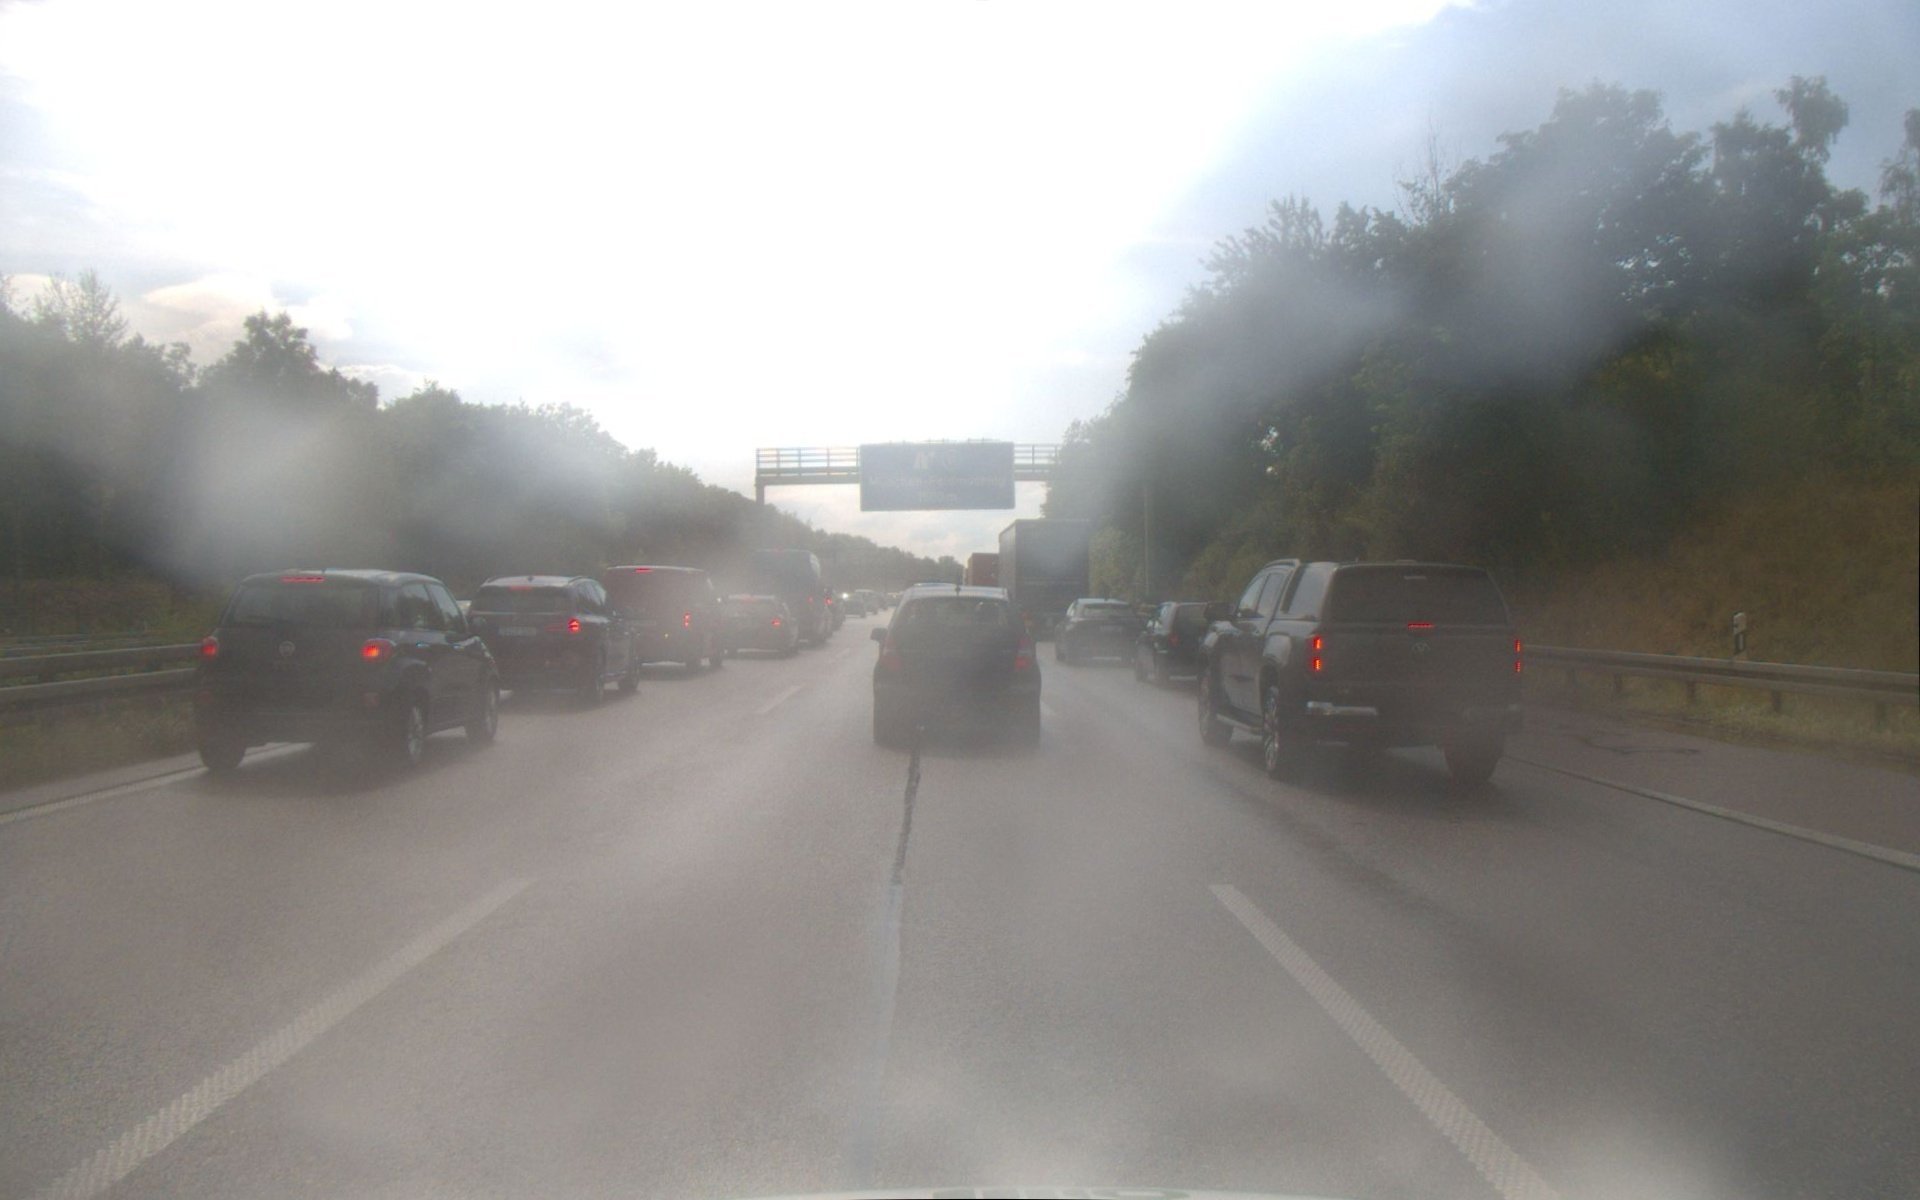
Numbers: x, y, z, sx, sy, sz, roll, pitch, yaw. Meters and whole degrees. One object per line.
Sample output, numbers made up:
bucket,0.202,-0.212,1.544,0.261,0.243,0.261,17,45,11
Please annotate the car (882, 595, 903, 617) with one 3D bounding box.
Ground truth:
car,-6.829,0.585,166.768,1.953,2.152,4.888,1,0,-1

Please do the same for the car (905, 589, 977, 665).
car,-0.526,0.675,42.444,1.659,1.836,3.973,1,0,-3

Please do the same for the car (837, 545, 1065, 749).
car,-0.192,0.475,18.711,2.229,1.989,4.818,1,0,-3

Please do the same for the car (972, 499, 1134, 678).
car,3.181,-0.345,63.807,4.316,5.932,16.806,1,0,-3

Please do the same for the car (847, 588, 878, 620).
car,-6.832,0.267,116.223,1.953,2.152,4.888,1,0,-1

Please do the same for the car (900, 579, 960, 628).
car,-1.021,0.134,55.007,1.828,1.542,3.973,1,0,-3

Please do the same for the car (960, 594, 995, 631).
car,1.040,0.757,99.589,1.953,2.152,4.888,1,0,-1

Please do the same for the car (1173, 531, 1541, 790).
car,3.401,0.478,15.451,1.902,1.952,5.650,1,0,-2

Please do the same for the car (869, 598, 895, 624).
car,-6.627,0.934,141.099,1.953,2.152,4.888,1,0,-1

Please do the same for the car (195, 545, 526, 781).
car,-5.238,0.506,15.004,1.658,1.836,3.974,1,0,-2

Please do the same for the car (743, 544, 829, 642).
car,-4.978,-0.173,48.017,1.953,2.661,5.258,1,0,-1

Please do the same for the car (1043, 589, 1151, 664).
car,2.973,0.559,36.545,1.828,1.542,3.973,1,0,-3

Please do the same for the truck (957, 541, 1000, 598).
truck,1.236,-2.010,112.741,2.719,3.695,5.915,1,0,-1

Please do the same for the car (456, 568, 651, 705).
car,-5.523,0.463,23.030,1.871,1.665,4.612,-1,0,-5

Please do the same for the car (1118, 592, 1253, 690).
car,3.765,0.663,28.215,1.559,1.542,3.973,1,0,-3

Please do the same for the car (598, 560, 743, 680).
car,-5.415,0.371,31.529,1.938,2.090,4.755,1,0,-1

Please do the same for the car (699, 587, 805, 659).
car,-4.910,0.528,39.633,1.953,1.592,4.755,1,0,-1

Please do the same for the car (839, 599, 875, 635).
car,-6.245,1.030,100.824,1.953,2.152,4.888,1,0,-1

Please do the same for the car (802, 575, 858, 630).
car,-5.296,0.115,68.007,1.953,2.152,4.888,1,0,-1

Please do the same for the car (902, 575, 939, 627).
car,-2.192,0.063,92.930,1.953,2.794,5.258,1,0,-1
